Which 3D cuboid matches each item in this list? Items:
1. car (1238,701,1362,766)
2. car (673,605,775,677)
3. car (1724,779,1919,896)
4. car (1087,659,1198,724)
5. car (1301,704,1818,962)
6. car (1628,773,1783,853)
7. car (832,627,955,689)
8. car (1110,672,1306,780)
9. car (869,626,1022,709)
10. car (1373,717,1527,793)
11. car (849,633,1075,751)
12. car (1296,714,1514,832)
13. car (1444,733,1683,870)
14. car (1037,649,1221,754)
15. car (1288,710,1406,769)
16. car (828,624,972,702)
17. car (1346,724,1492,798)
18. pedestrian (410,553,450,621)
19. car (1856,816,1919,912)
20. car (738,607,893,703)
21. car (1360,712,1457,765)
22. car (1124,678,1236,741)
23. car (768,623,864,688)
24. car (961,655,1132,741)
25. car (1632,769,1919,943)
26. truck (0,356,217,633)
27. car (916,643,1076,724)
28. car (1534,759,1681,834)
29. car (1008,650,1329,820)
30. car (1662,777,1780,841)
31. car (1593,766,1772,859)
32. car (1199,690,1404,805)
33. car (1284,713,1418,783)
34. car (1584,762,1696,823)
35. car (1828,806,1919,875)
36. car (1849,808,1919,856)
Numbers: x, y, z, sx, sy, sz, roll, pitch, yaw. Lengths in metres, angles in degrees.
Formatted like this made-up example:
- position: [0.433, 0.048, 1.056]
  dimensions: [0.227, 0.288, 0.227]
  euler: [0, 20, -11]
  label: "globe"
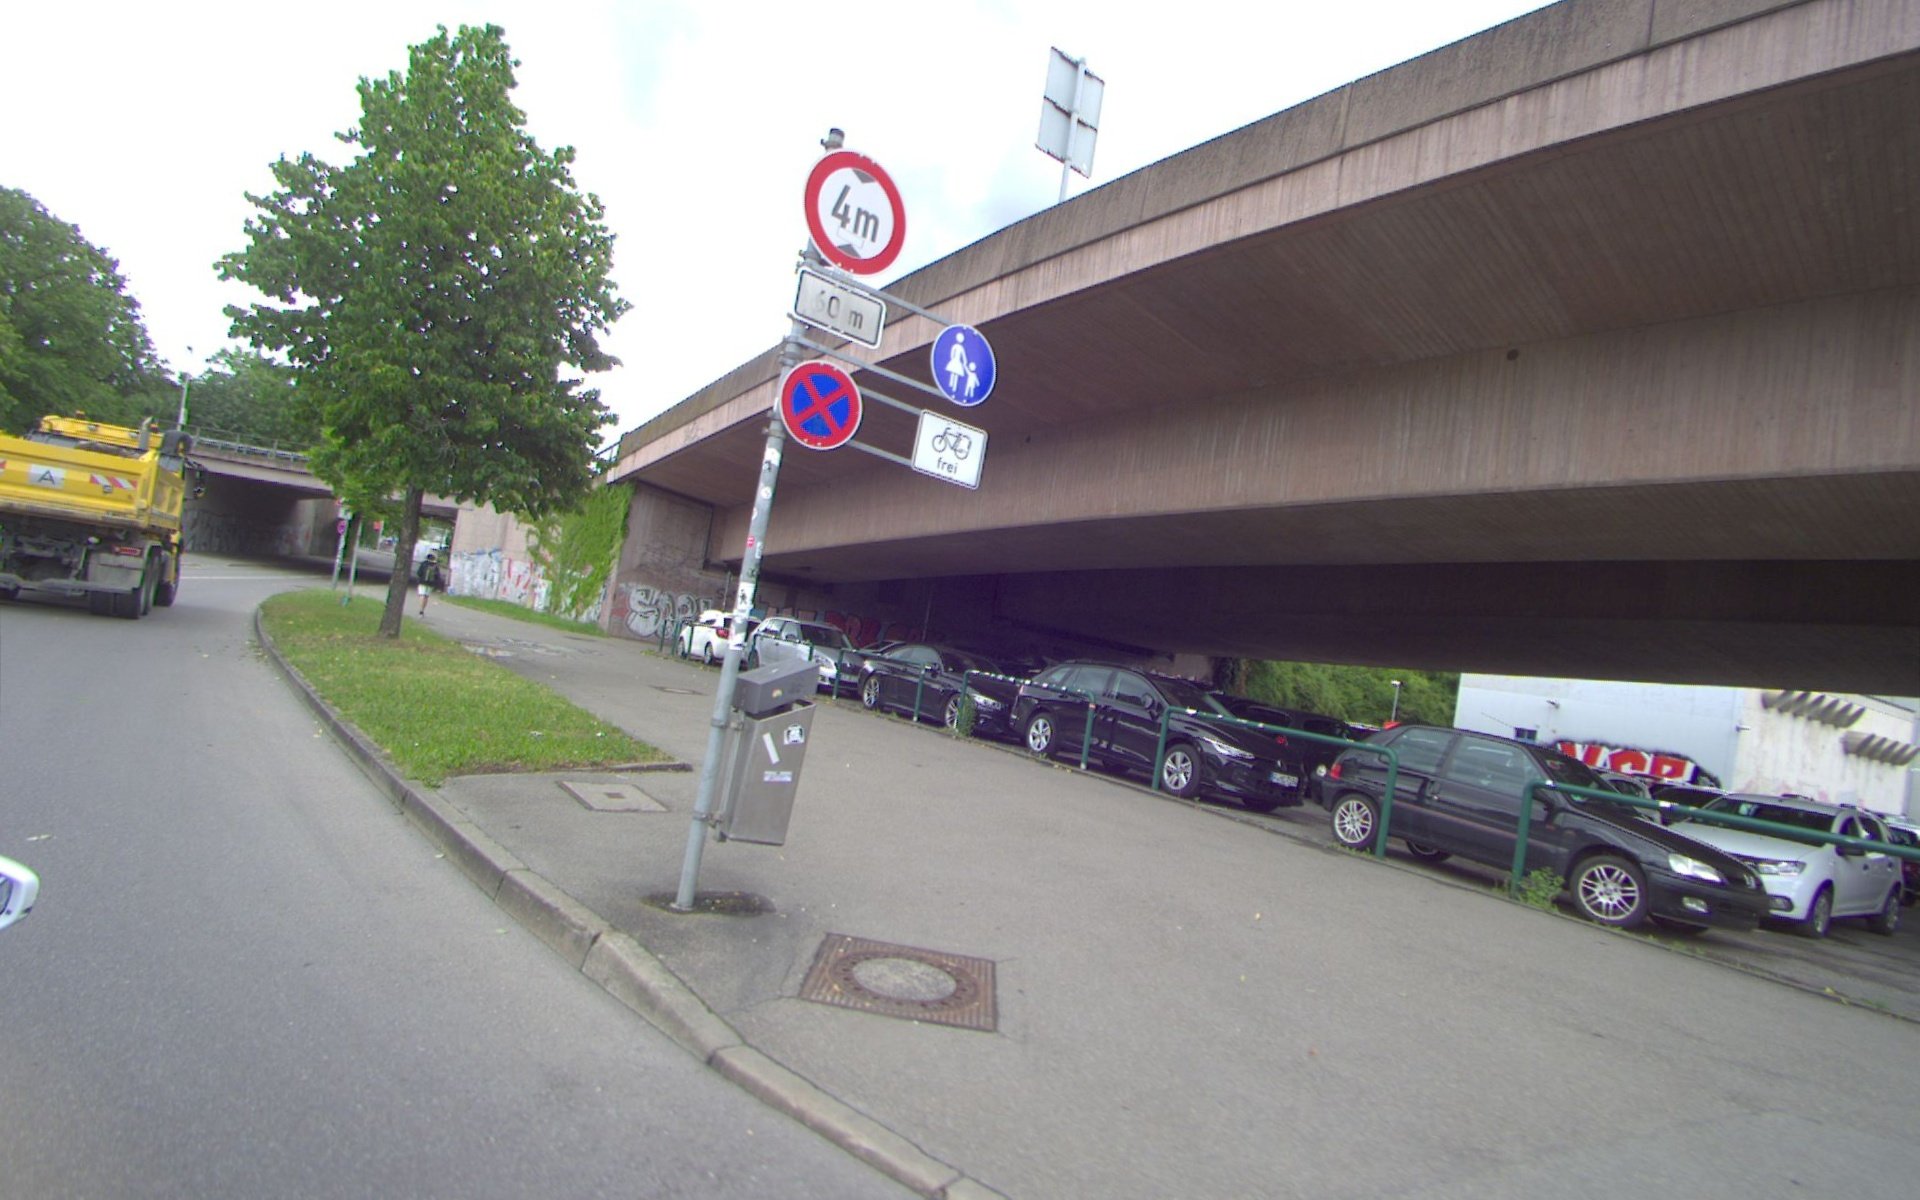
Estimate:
- position: [10.869, 4.271, 32.125]
  dimensions: [3.629, 1.442, 1.666]
  euler: [12, -3, -31]
  label: "car"
- position: [-6.429, 1.070, 27.199]
  dimensions: [1.565, 1.455, 3.351]
  euler: [11, -3, -31]
  label: "car"
- position: [17.510, 4.813, 20.370]
  dimensions: [3.827, 1.716, 1.824]
  euler: [12, -3, -31]
  label: "car"
- position: [6.958, 3.485, 38.256]
  dimensions: [3.629, 1.808, 1.869]
  euler: [11, -3, -31]
  label: "car"
- position: [5.192, 1.975, 9.217]
  dimensions: [1.498, 1.342, 3.671]
  euler: [14, -5, -30]
  label: "car"
- position: [20.153, 5.765, 27.157]
  dimensions: [4.154, 1.481, 1.824]
  euler: [12, -3, -31]
  label: "car"
- position: [-2.301, 2.062, 35.350]
  dimensions: [3.836, 1.494, 1.740]
  euler: [12, -3, -37]
  label: "car"
- position: [5.123, 2.606, 20.594]
  dimensions: [3.836, 1.572, 1.740]
  euler: [12, -3, -37]
  label: "car"
- position: [-0.375, 1.916, 28.256]
  dimensions: [3.836, 1.655, 1.740]
  euler: [12, -3, -37]
  label: "car"
- position: [16.341, 5.174, 33.505]
  dimensions: [5.060, 1.695, 2.074]
  euler: [12, -3, -31]
  label: "car"
- position: [-0.122, 1.521, 17.539]
  dimensions: [1.757, 1.335, 4.338]
  euler: [12, -3, -32]
  label: "car"
- position: [7.714, 3.008, 17.307]
  dimensions: [3.836, 1.459, 1.681]
  euler: [12, -3, -37]
  label: "car"
- position: [9.156, 3.073, 15.165]
  dimensions: [3.836, 1.525, 1.681]
  euler: [12, -3, -37]
  label: "car"
- position: [3.840, 2.306, 22.591]
  dimensions: [3.836, 1.712, 1.740]
  euler: [12, -3, -37]
  label: "car"
- position: [14.467, 5.211, 37.555]
  dimensions: [4.154, 1.481, 1.824]
  euler: [12, -3, -31]
  label: "car"
- position: [-1.766, 1.917, 30.206]
  dimensions: [3.836, 1.655, 1.740]
  euler: [12, -3, -37]
  label: "car"
- position: [13.086, 4.586, 28.650]
  dimensions: [3.827, 1.442, 1.824]
  euler: [12, -3, -31]
  label: "car"
- position: [-15.913, -0.390, 30.185]
  dimensions: [0.731, 1.928, 0.818]
  euler: [10, -2, -34]
  label: "pedestrian"
- position: [18.650, 5.052, 18.420]
  dimensions: [4.333, 1.485, 1.827]
  euler: [11, -4, -27]
  label: "car"
- position: [-3.323, 1.169, 22.539]
  dimensions: [1.605, 1.552, 4.031]
  euler: [12, -3, -35]
  label: "car"
- position: [20.417, 6.291, 45.731]
  dimensions: [4.154, 1.706, 1.824]
  euler: [12, -3, -31]
  label: "car"
- position: [7.958, 3.965, 36.308]
  dimensions: [3.629, 1.615, 1.666]
  euler: [12, -3, -31]
  label: "car"
- position: [-4.681, 1.738, 32.261]
  dimensions: [1.730, 1.515, 3.975]
  euler: [11, -3, -26]
  label: "car"
- position: [2.145, 2.401, 24.489]
  dimensions: [3.836, 1.449, 1.740]
  euler: [12, -3, -37]
  label: "car"
- position: [10.279, 3.191, 12.591]
  dimensions: [3.979, 1.569, 1.624]
  euler: [12, -3, -34]
  label: "car"
- position: [-15.711, -1.757, 18.267]
  dimensions: [2.744, 3.739, 7.809]
  euler: [10, -3, -34]
  label: "truck"
- position: [0.991, 2.212, 26.421]
  dimensions: [3.836, 1.454, 1.740]
  euler: [12, -3, -37]
  label: "car"
- position: [18.745, 5.704, 29.095]
  dimensions: [4.154, 1.481, 1.824]
  euler: [12, -3, -31]
  label: "car"
- position: [2.550, 1.670, 13.328]
  dimensions: [1.498, 1.434, 4.213]
  euler: [13, -4, -32]
  label: "car"
- position: [27.061, 7.428, 35.740]
  dimensions: [4.154, 1.609, 1.824]
  euler: [12, -3, -31]
  label: "car"
- position: [16.333, 4.808, 22.700]
  dimensions: [3.827, 1.442, 1.824]
  euler: [12, -3, -31]
  label: "car"
- position: [6.494, 2.807, 18.962]
  dimensions: [3.836, 1.572, 1.681]
  euler: [12, -3, -37]
  label: "car"
- position: [11.821, 4.480, 30.366]
  dimensions: [3.827, 1.442, 1.666]
  euler: [12, -3, -31]
  label: "car"
- position: [25.716, 7.284, 38.036]
  dimensions: [4.154, 1.609, 1.824]
  euler: [12, -3, -31]
  label: "car"
- position: [29.528, 7.674, 31.839]
  dimensions: [4.154, 1.609, 1.824]
  euler: [12, -3, -31]
  label: "car"
- position: [40.968, 10.207, 44.009]
  dimensions: [4.447, 1.549, 1.755]
  euler: [12, -3, -30]
  label: "car"
